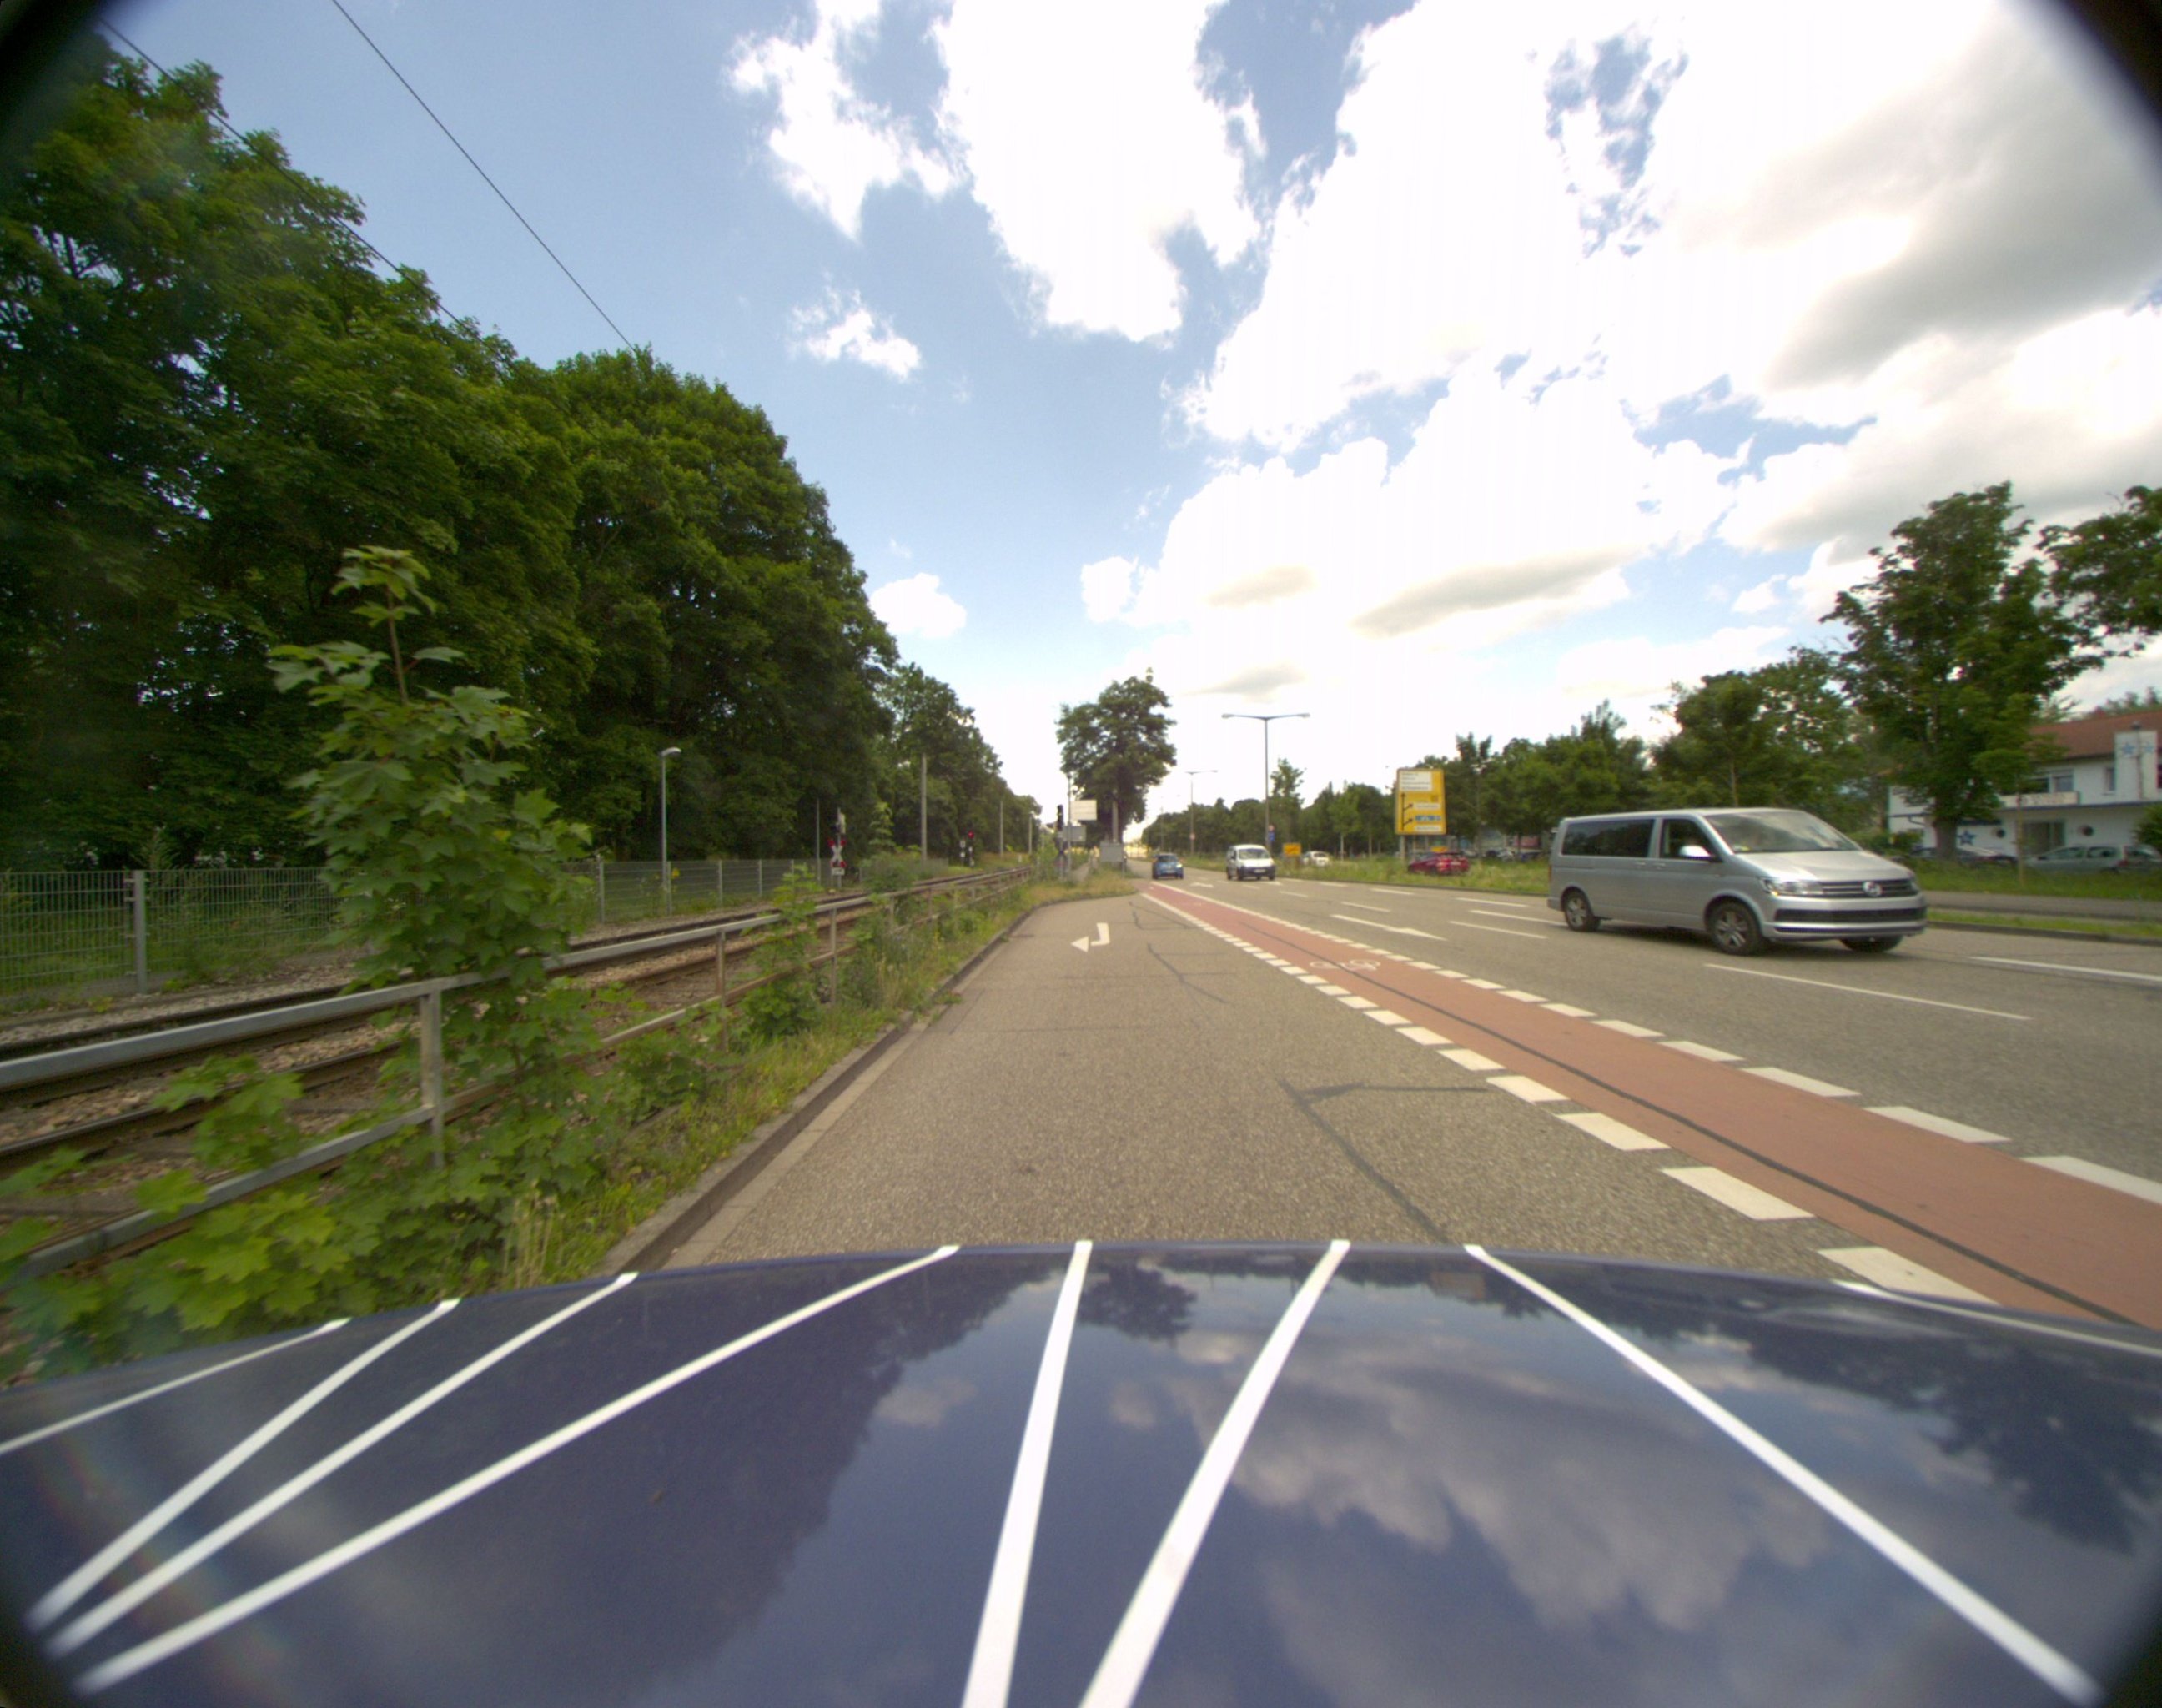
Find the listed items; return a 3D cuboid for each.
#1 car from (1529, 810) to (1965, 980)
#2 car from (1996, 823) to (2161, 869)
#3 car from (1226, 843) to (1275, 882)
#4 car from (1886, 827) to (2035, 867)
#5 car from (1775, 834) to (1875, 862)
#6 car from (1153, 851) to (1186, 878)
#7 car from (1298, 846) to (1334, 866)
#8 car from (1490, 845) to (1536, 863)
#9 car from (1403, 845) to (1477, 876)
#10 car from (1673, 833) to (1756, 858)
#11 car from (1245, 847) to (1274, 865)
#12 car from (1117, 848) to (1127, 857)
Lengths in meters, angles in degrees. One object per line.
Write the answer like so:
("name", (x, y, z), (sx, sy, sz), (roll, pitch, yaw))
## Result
("car", (9.054, 0.442, 11.190), (1.818, 1.907, 5.231), (0, 1, 0))
("car", (37.232, -0.289, 28.306), (1.921, 1.578, 3.666), (0, 0, 2))
("car", (8.484, 0.389, 38.333), (1.746, 1.775, 4.156), (-2, 1, 3))
("car", (37.251, -0.304, 32.346), (1.762, 1.578, 4.023), (0, 0, 2))
("car", (37.114, -0.274, 38.022), (1.625, 1.324, 3.477), (0, 0, 2))
("car", (5.126, 0.580, 44.276), (1.604, 1.455, 3.703), (0, 0, 2))
("car", (18.221, 0.157, 59.019), (1.615, 1.436, 3.592), (-2, 1, -1))
("car", (38.486, 0.005, 67.791), (1.998, 1.578, 4.023), (0, 0, 2))
("car", (18.646, 0.304, 39.699), (1.892, 1.503, 3.999), (-2, 1, -1))
("car", (37.169, -0.489, 44.722), (1.729, 1.403, 3.866), (0, 0, 2))
("car", (16.561, 0.205, 70.660), (1.998, 1.608, 4.001), (-1, 0, 4))
("car", (7.488, -0.328, 139.406), (1.726, 1.604, 4.000), (-1, 1, 2))
